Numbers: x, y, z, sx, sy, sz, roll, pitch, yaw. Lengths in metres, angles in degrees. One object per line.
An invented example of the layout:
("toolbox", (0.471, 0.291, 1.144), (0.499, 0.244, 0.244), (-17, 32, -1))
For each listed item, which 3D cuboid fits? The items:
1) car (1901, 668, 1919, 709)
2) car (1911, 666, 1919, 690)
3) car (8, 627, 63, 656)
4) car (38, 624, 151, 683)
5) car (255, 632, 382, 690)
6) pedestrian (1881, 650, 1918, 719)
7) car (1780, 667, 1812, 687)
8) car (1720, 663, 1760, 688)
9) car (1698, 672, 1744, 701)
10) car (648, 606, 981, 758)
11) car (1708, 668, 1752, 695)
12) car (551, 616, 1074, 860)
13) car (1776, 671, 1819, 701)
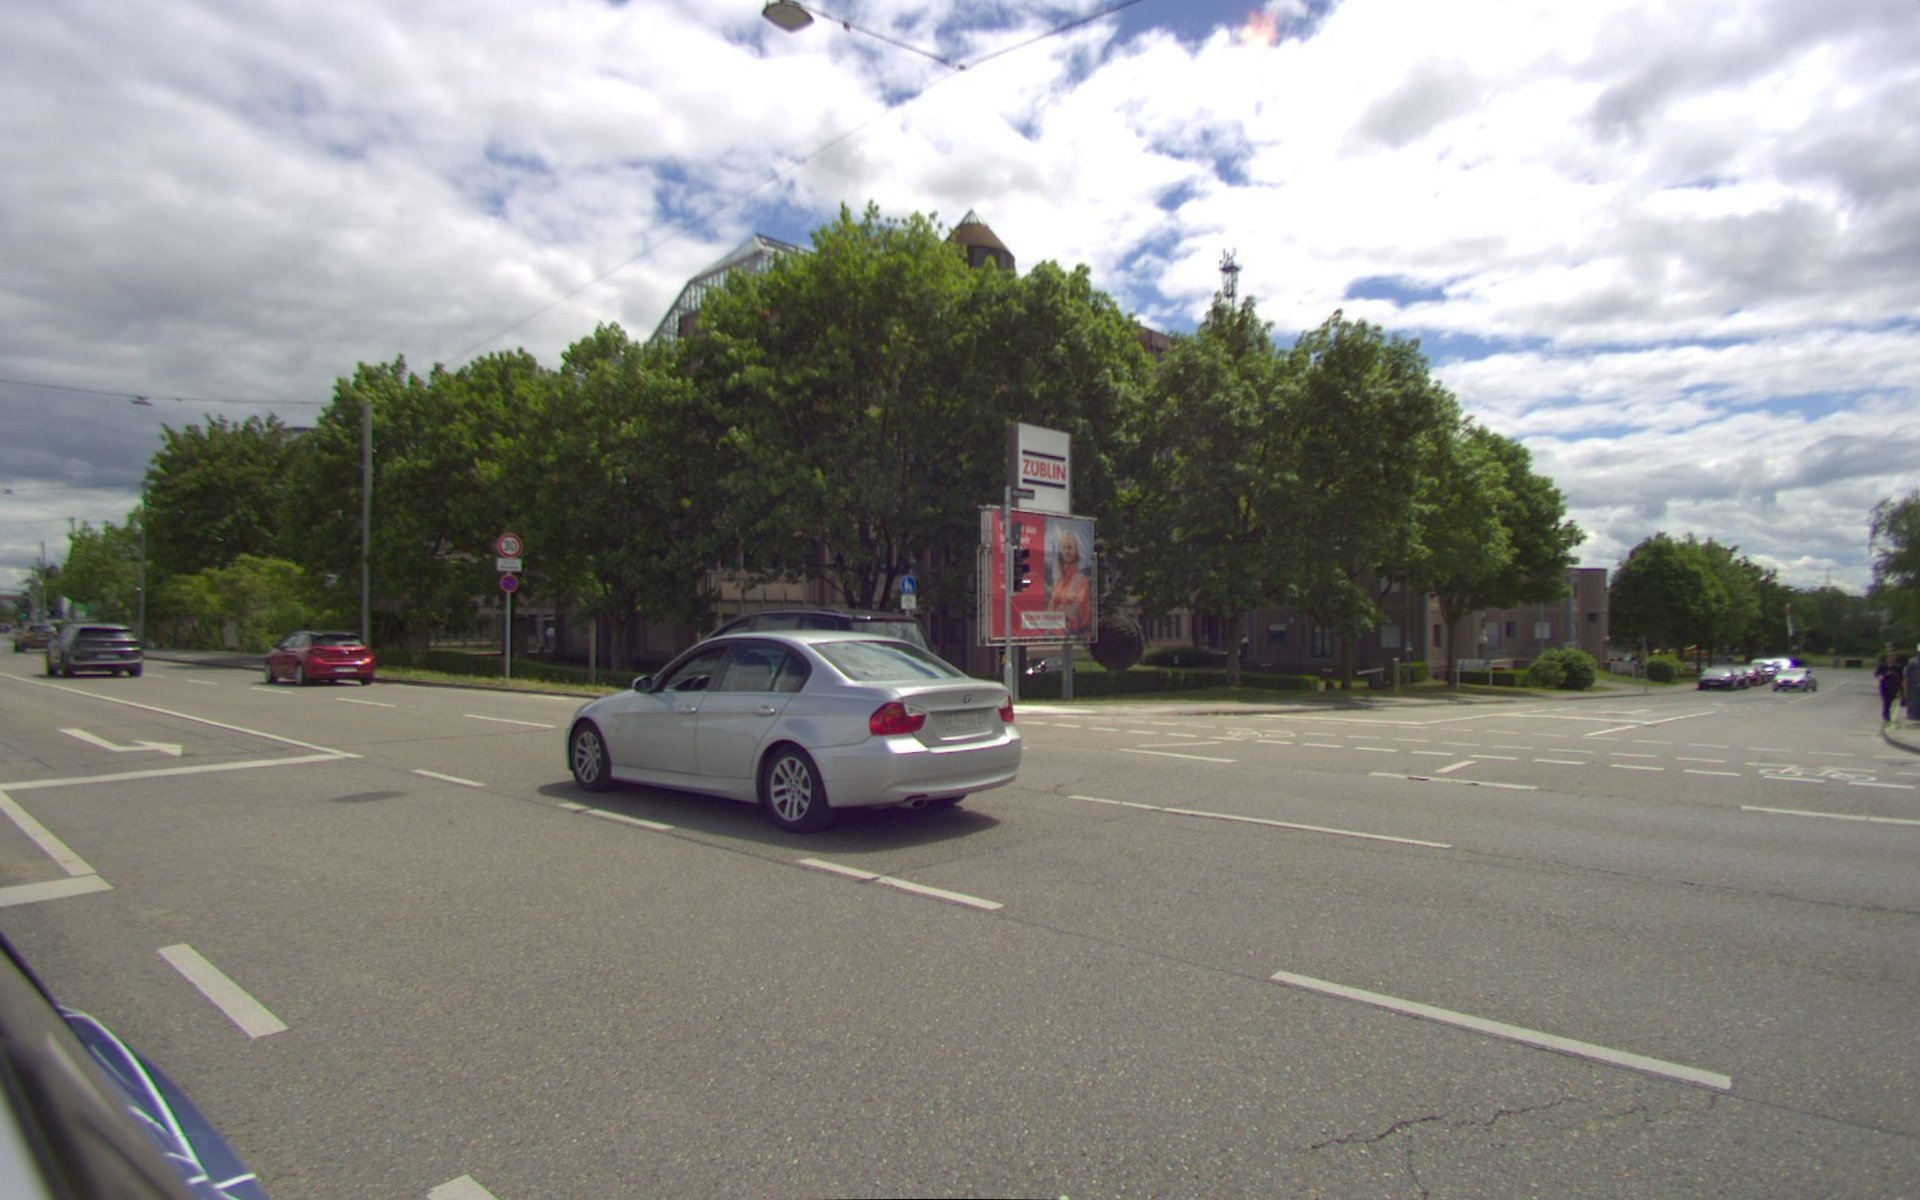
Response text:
("car", (41.341, 3.778, 42.944), (2.000, 1.706, 3.601), (-2, -5, 44))
("car", (84.520, 6.789, 88.371), (3.941, 2.029, 2.001), (4, -4, -45))
("car", (-53.176, 2.360, 58.172), (3.998, 1.609, 1.873), (-1, -2, 41))
("car", (-26.251, 1.560, 30.651), (4.303, 1.630, 1.973), (-1, -2, 41))
("car", (-17.183, 1.574, 27.060), (3.997, 1.426, 1.762), (-1, -2, 41))
("pedestrian", (23.217, 2.079, 25.019), (0.621, 1.657, 0.740), (-2, -5, 43))
("car", (73.350, 6.750, 88.777), (1.999, 1.519, 3.945), (-1, -1, 42))
("car", (56.251, 5.401, 72.923), (1.999, 1.519, 3.945), (-1, -1, 42))
("car", (47.660, 5.375, 63.347), (1.999, 1.519, 3.945), (-1, -1, 42))
("car", (-2.130, 0.978, 13.746), (4.761, 1.715, 1.971), (-2, -2, 43))
("car", (51.248, 5.386, 67.316), (1.999, 1.519, 3.945), (-1, -1, 42))
("car", (-1.406, 0.880, 8.230), (4.420, 1.458, 1.773), (-1, -1, 41))
("car", (52.156, 5.332, 63.040), (1.998, 1.519, 3.947), (-1, -1, 40))
